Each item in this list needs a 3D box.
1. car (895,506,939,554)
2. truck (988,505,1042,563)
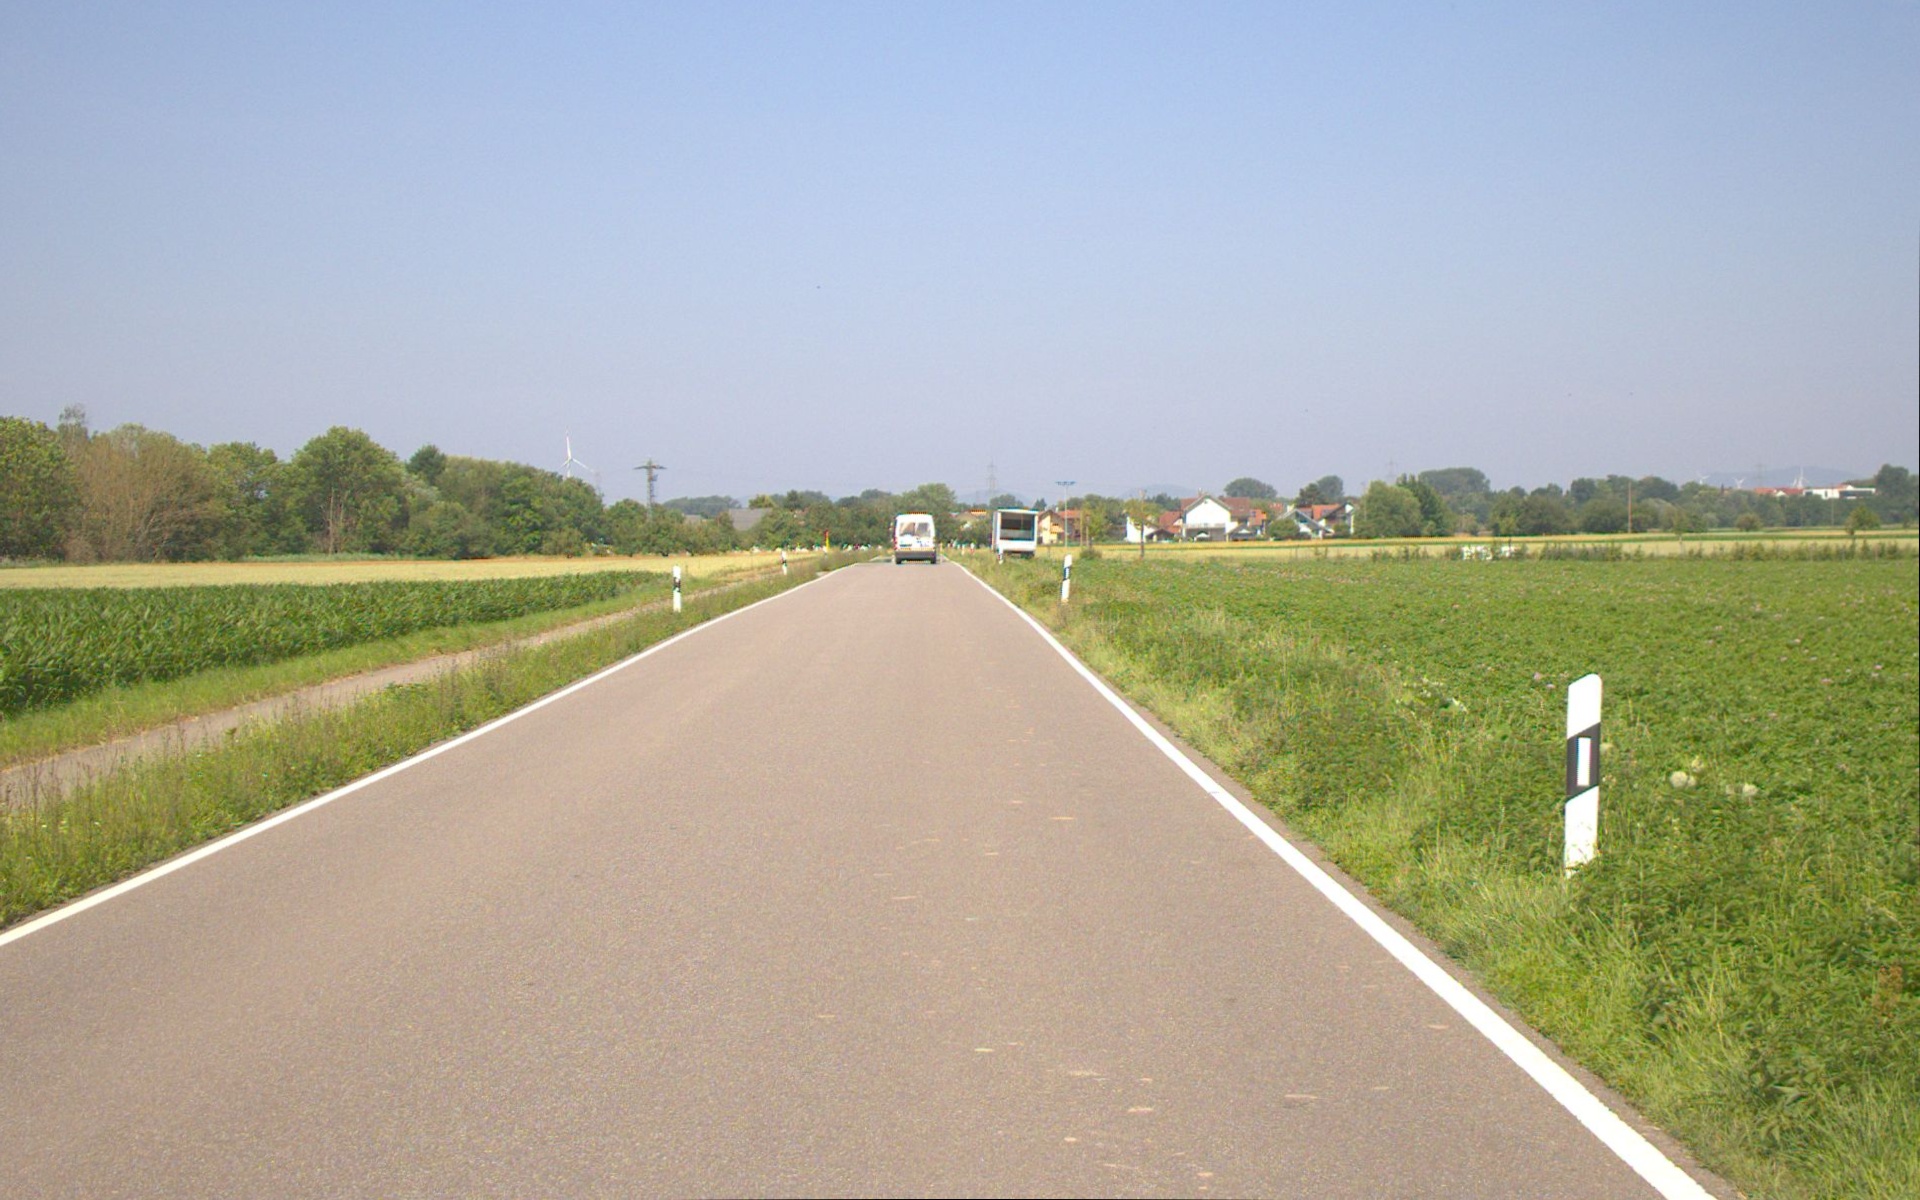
[{"bbox_3d":[-2.159,-3.496,172.544,2.107,2.296,5.496,1,1,-1],"label":"car"},{"bbox_3d":[2.921,-3.515,184.161,2.335,2.932,7.009,2,1,-3],"label":"truck"}]
